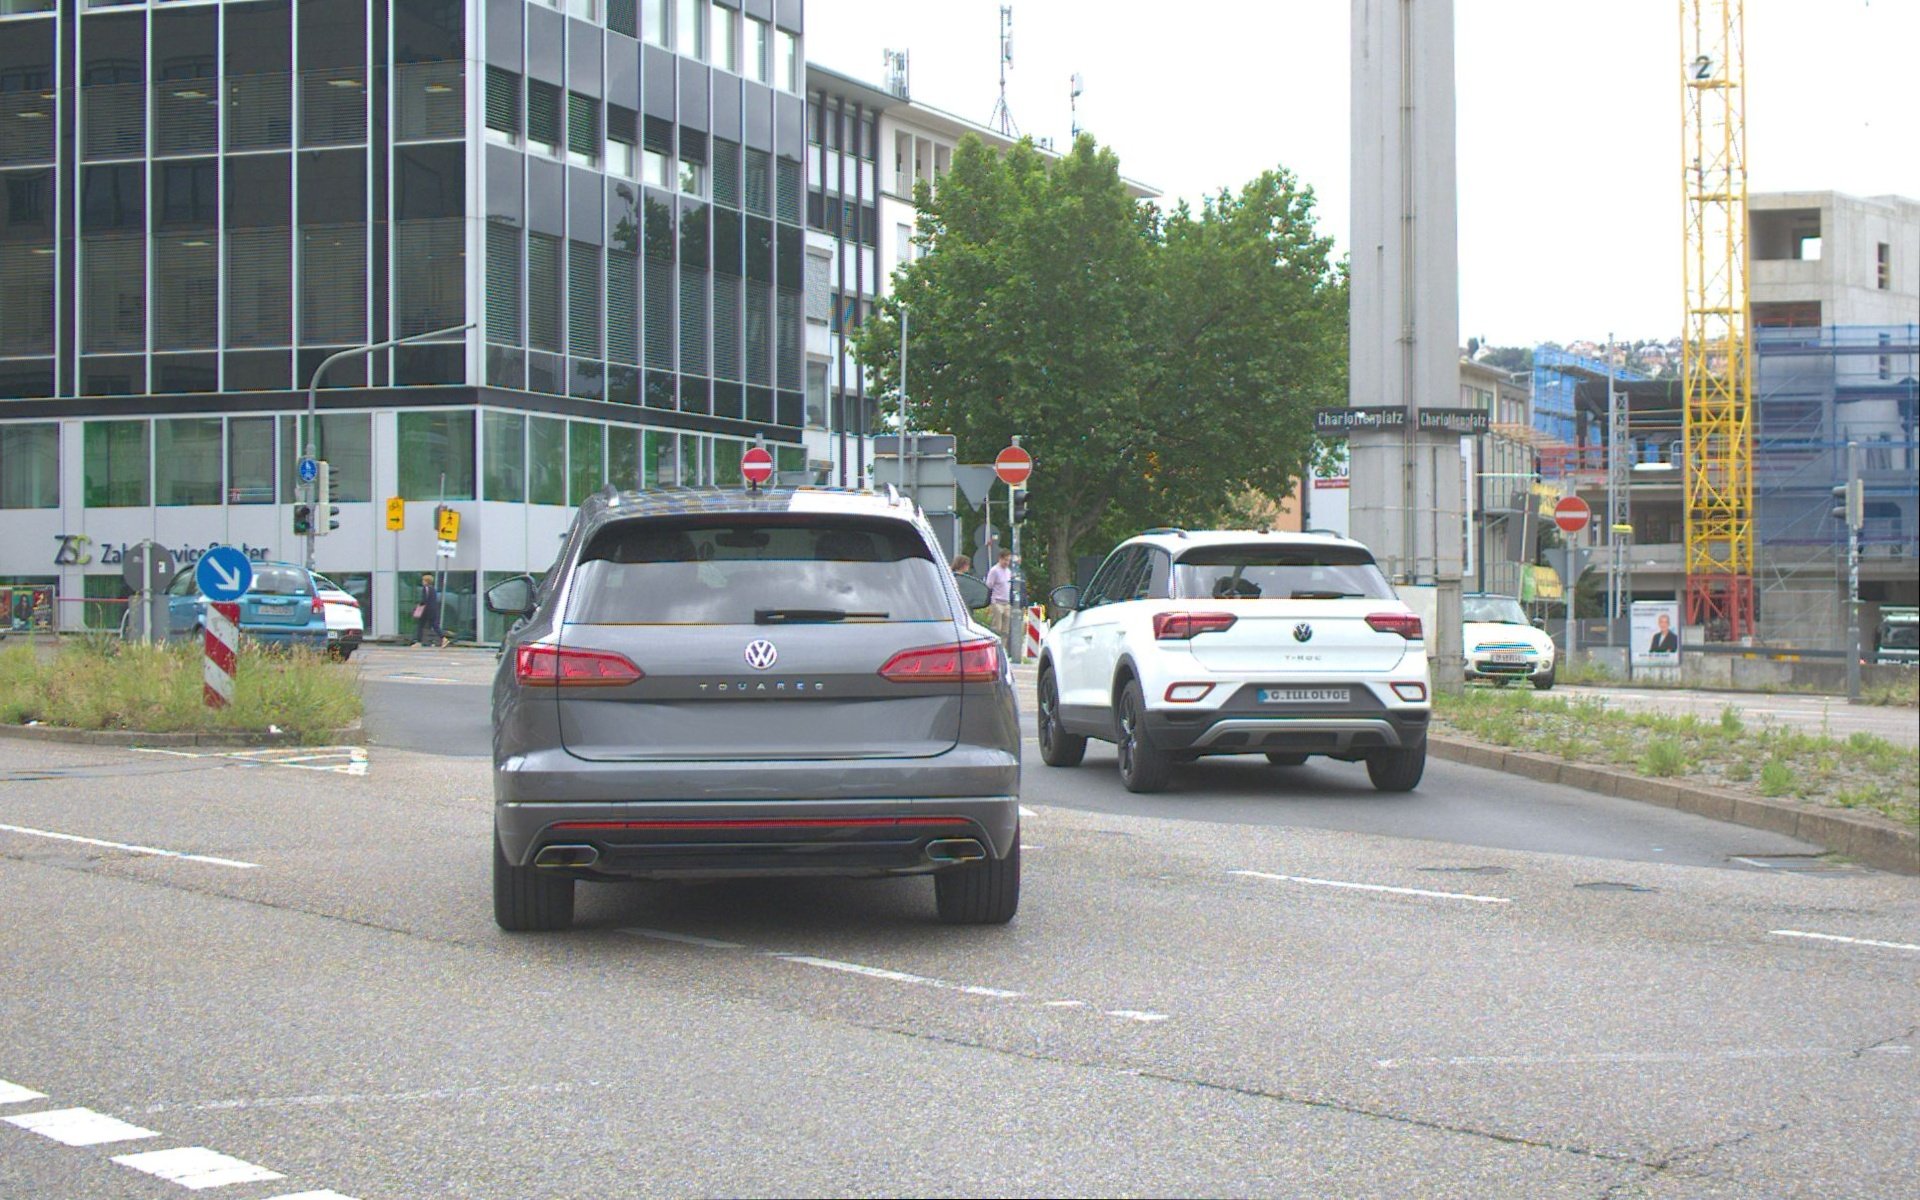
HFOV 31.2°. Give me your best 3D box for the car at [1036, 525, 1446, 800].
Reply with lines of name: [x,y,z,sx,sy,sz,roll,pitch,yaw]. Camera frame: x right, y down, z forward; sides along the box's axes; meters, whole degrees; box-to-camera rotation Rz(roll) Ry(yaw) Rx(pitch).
car: [1.638,0.317,21.402,1.797,1.540,3.936,0,1,-7]

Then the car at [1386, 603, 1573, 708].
car: [7.690,0.801,51.213,1.723,1.413,3.648,1,1,-9]

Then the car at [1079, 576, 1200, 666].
car: [3.150,0.374,61.156,1.993,1.499,5.039,1,-1,1]

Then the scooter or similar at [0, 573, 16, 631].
scooter or similar: [-19.793,0.043,69.586,1.319,1.172,0.593,0,1,-15]

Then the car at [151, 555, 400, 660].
car: [-10.522,0.089,52.765,3.764,1.512,1.833,1,1,41]

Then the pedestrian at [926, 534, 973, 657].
pedestrian: [-0.163,-0.067,54.883,0.641,1.948,0.610,1,0,6]

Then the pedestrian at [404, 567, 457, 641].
pedestrian: [-10.474,0.077,68.015,0.837,1.438,0.605,1,1,22]

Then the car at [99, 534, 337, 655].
car: [-9.760,-0.102,45.042,1.832,1.512,3.767,0,1,-33]

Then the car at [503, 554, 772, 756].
car: [-2.456,0.393,27.080,1.833,1.391,4.148,2,0,-2]

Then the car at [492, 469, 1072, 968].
car: [-0.840,0.362,13.846,1.970,1.690,4.225,0,1,-7]

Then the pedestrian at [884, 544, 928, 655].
pedestrian: [-0.888,-0.009,56.663,0.641,1.791,0.611,2,0,3]
